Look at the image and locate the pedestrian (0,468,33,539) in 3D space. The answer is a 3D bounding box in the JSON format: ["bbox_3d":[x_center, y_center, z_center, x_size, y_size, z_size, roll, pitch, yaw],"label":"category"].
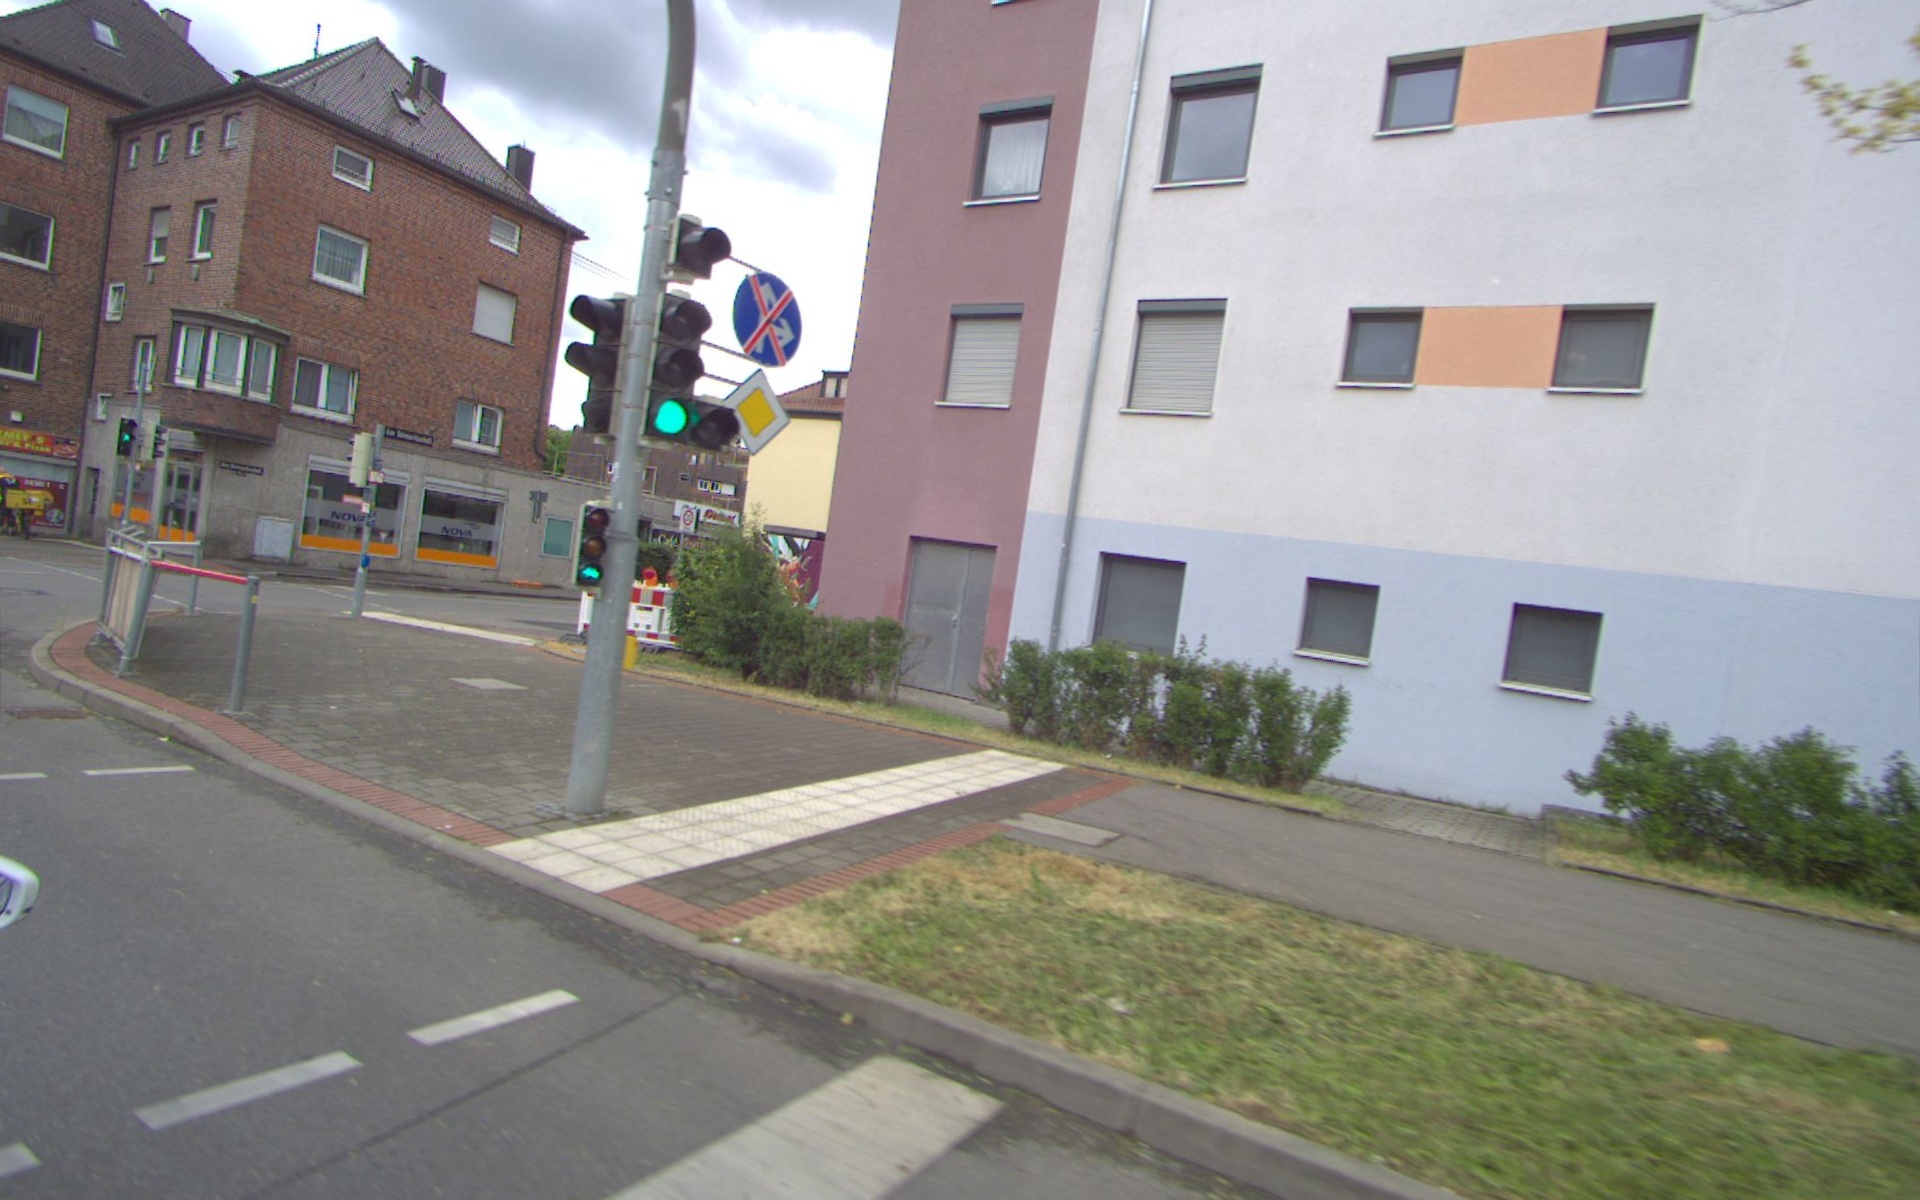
[{"bbox_3d":[-23.618,-2.398,24.880,0.759,1.678,0.788,7,3,32],"label":"pedestrian"}]

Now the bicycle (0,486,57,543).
[{"bbox_3d":[-23.112,-2.126,24.631,2.352,1.208,0.761,7,0,32],"label":"bicycle"}]
